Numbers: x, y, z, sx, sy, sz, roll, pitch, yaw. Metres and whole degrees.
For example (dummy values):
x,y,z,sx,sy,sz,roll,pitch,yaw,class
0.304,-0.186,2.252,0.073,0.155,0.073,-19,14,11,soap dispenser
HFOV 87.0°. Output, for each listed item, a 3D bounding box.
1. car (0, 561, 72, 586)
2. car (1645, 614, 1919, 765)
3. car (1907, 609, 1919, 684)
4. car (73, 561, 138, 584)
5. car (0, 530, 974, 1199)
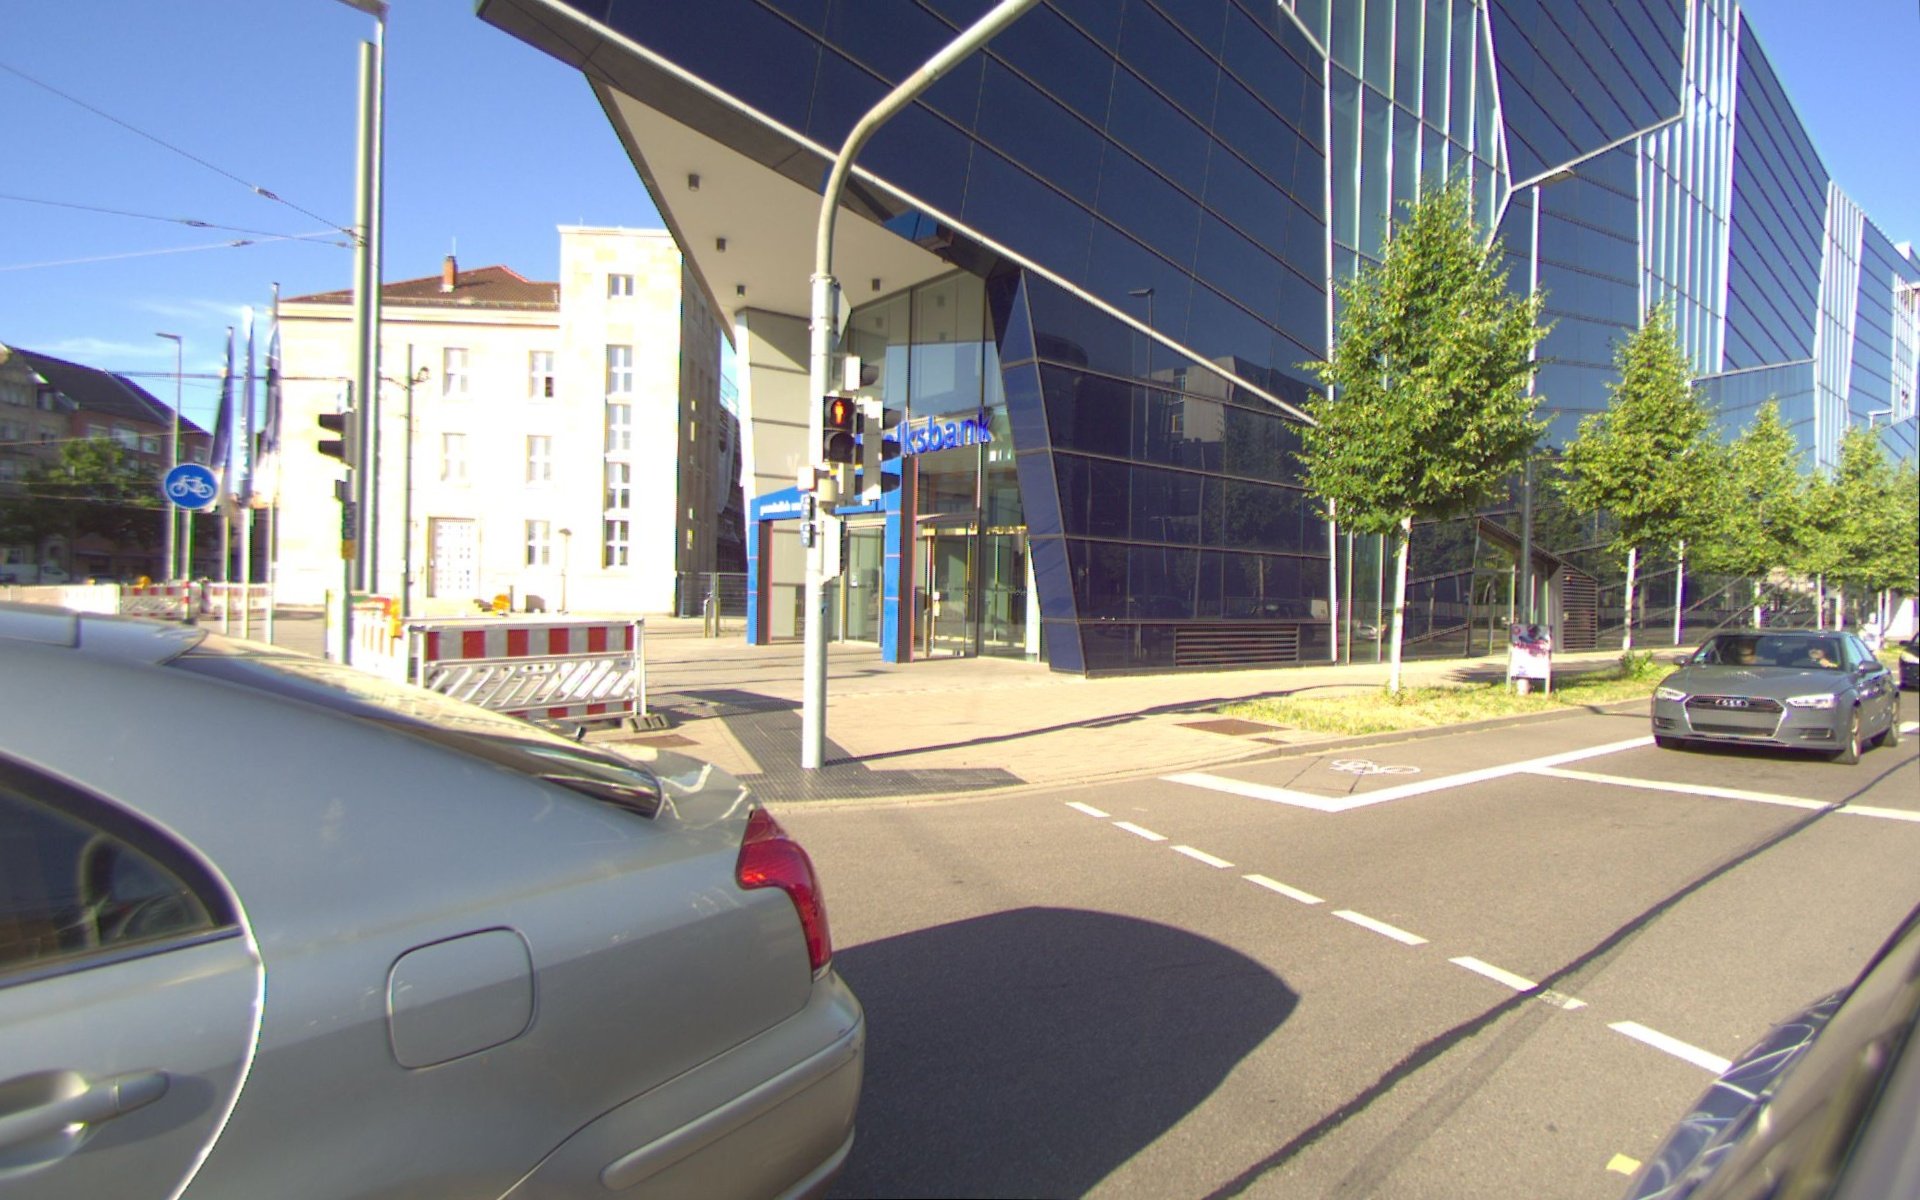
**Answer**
x,y,z,sx,sy,sz,roll,pitch,yaw,class
-70.099,-2.026,76.776,3.924,1.793,2.001,0,2,-35,car
9.789,0.898,11.809,4.185,1.409,1.750,0,0,-37,car
21.121,0.957,20.947,3.900,1.497,1.752,1,-1,-40,car
-70.260,-2.242,83.311,3.924,1.793,2.001,0,2,-35,car
-2.242,0.663,1.037,4.549,1.500,1.748,0,1,-42,car
